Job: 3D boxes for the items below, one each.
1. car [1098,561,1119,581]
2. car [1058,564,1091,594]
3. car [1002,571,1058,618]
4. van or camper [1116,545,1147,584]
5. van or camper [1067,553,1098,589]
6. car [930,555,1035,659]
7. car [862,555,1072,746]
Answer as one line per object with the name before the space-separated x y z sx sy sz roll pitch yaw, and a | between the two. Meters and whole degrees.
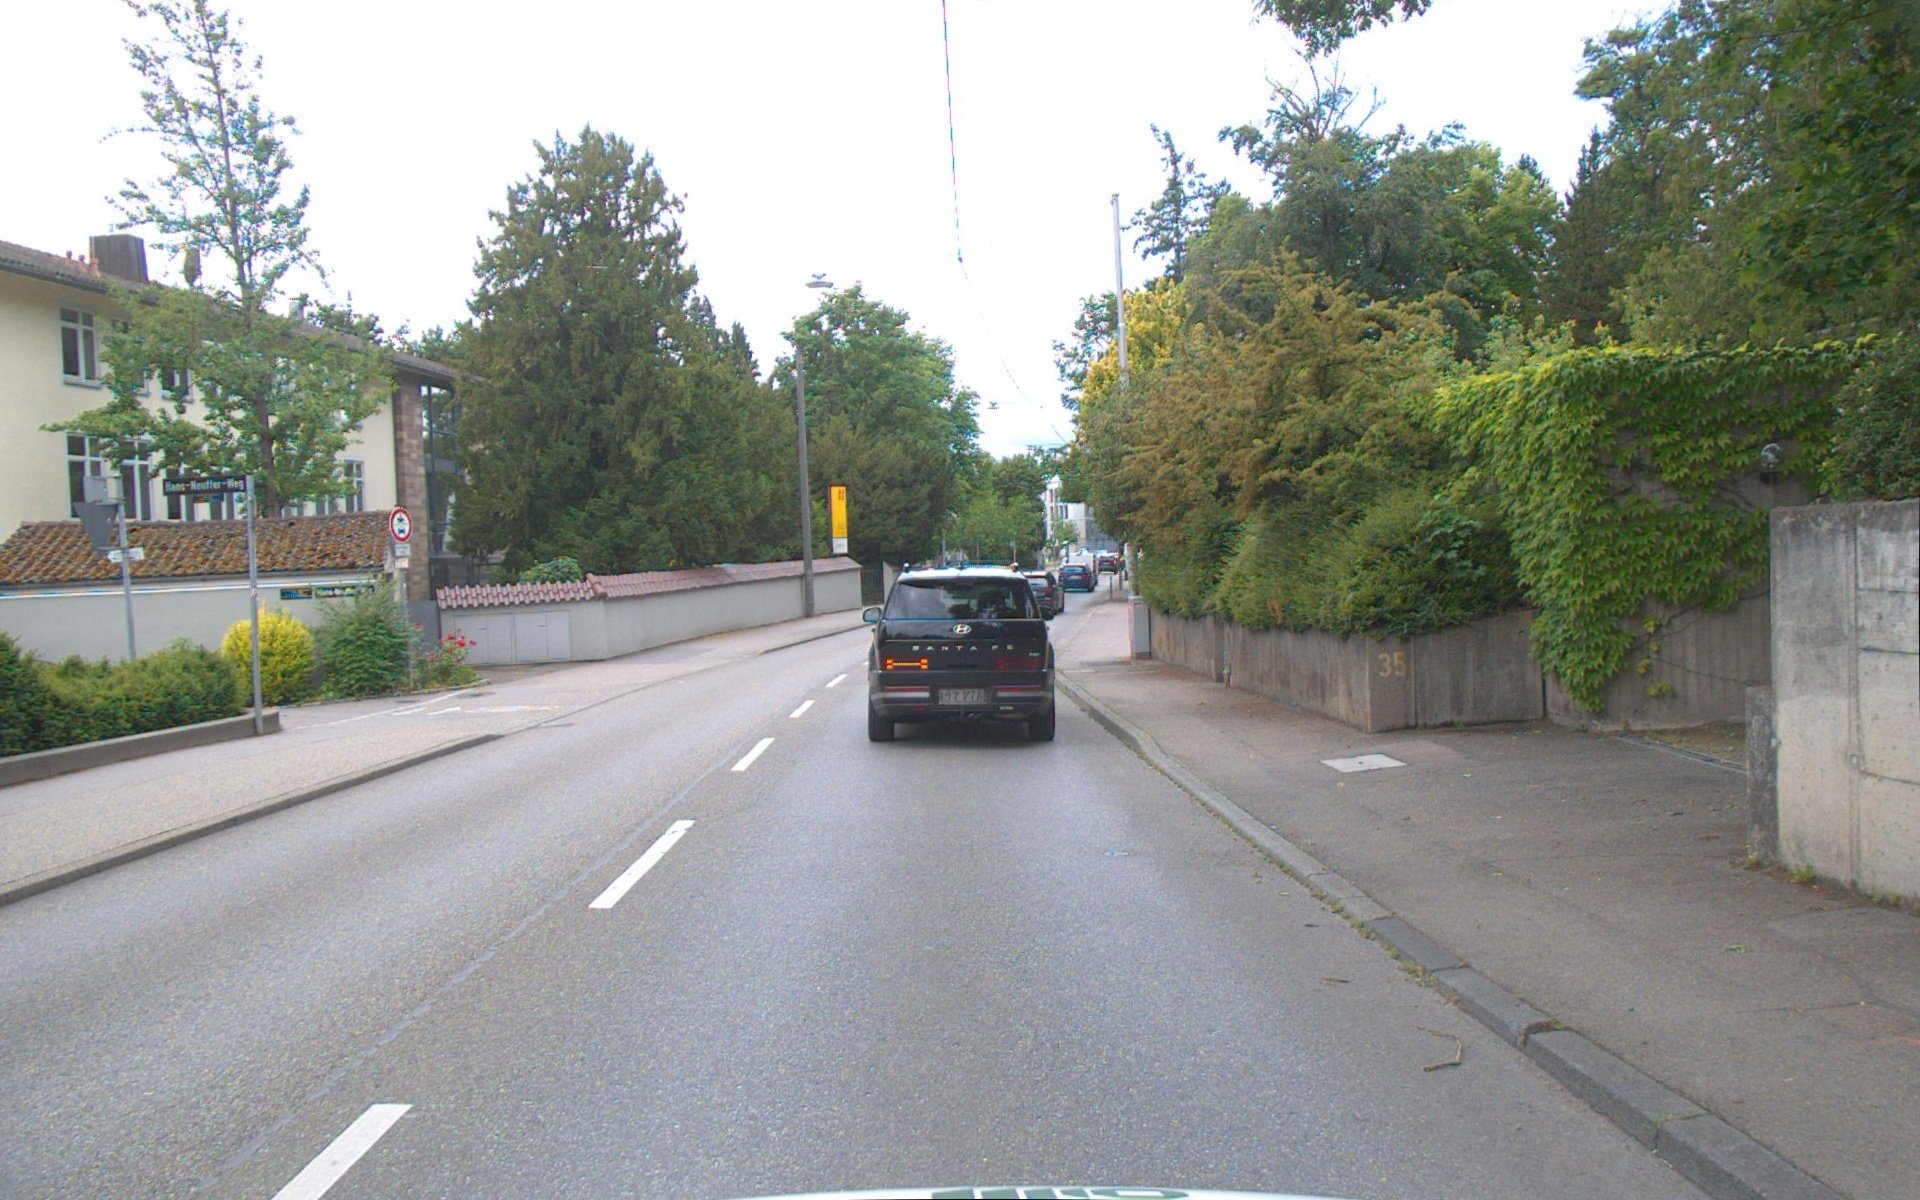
car | 12.724 -2.488 141.794 1.640 1.568 3.941 -2 2 7
car | 6.078 -1.128 87.598 1.640 1.447 3.941 -2 2 5
car | 2.457 -0.205 57.421 1.640 1.447 3.941 -2 2 6
van or camper | 12.170 -2.520 117.032 2.000 2.622 5.254 -2 2 7
van or camper | 7.590 -1.803 102.026 1.640 2.042 3.941 -2 2 7
car | 0.536 0.080 34.886 1.916 1.989 4.226 1 2 4
car | 0.030 0.453 17.382 1.917 1.743 4.222 1 0 -1
